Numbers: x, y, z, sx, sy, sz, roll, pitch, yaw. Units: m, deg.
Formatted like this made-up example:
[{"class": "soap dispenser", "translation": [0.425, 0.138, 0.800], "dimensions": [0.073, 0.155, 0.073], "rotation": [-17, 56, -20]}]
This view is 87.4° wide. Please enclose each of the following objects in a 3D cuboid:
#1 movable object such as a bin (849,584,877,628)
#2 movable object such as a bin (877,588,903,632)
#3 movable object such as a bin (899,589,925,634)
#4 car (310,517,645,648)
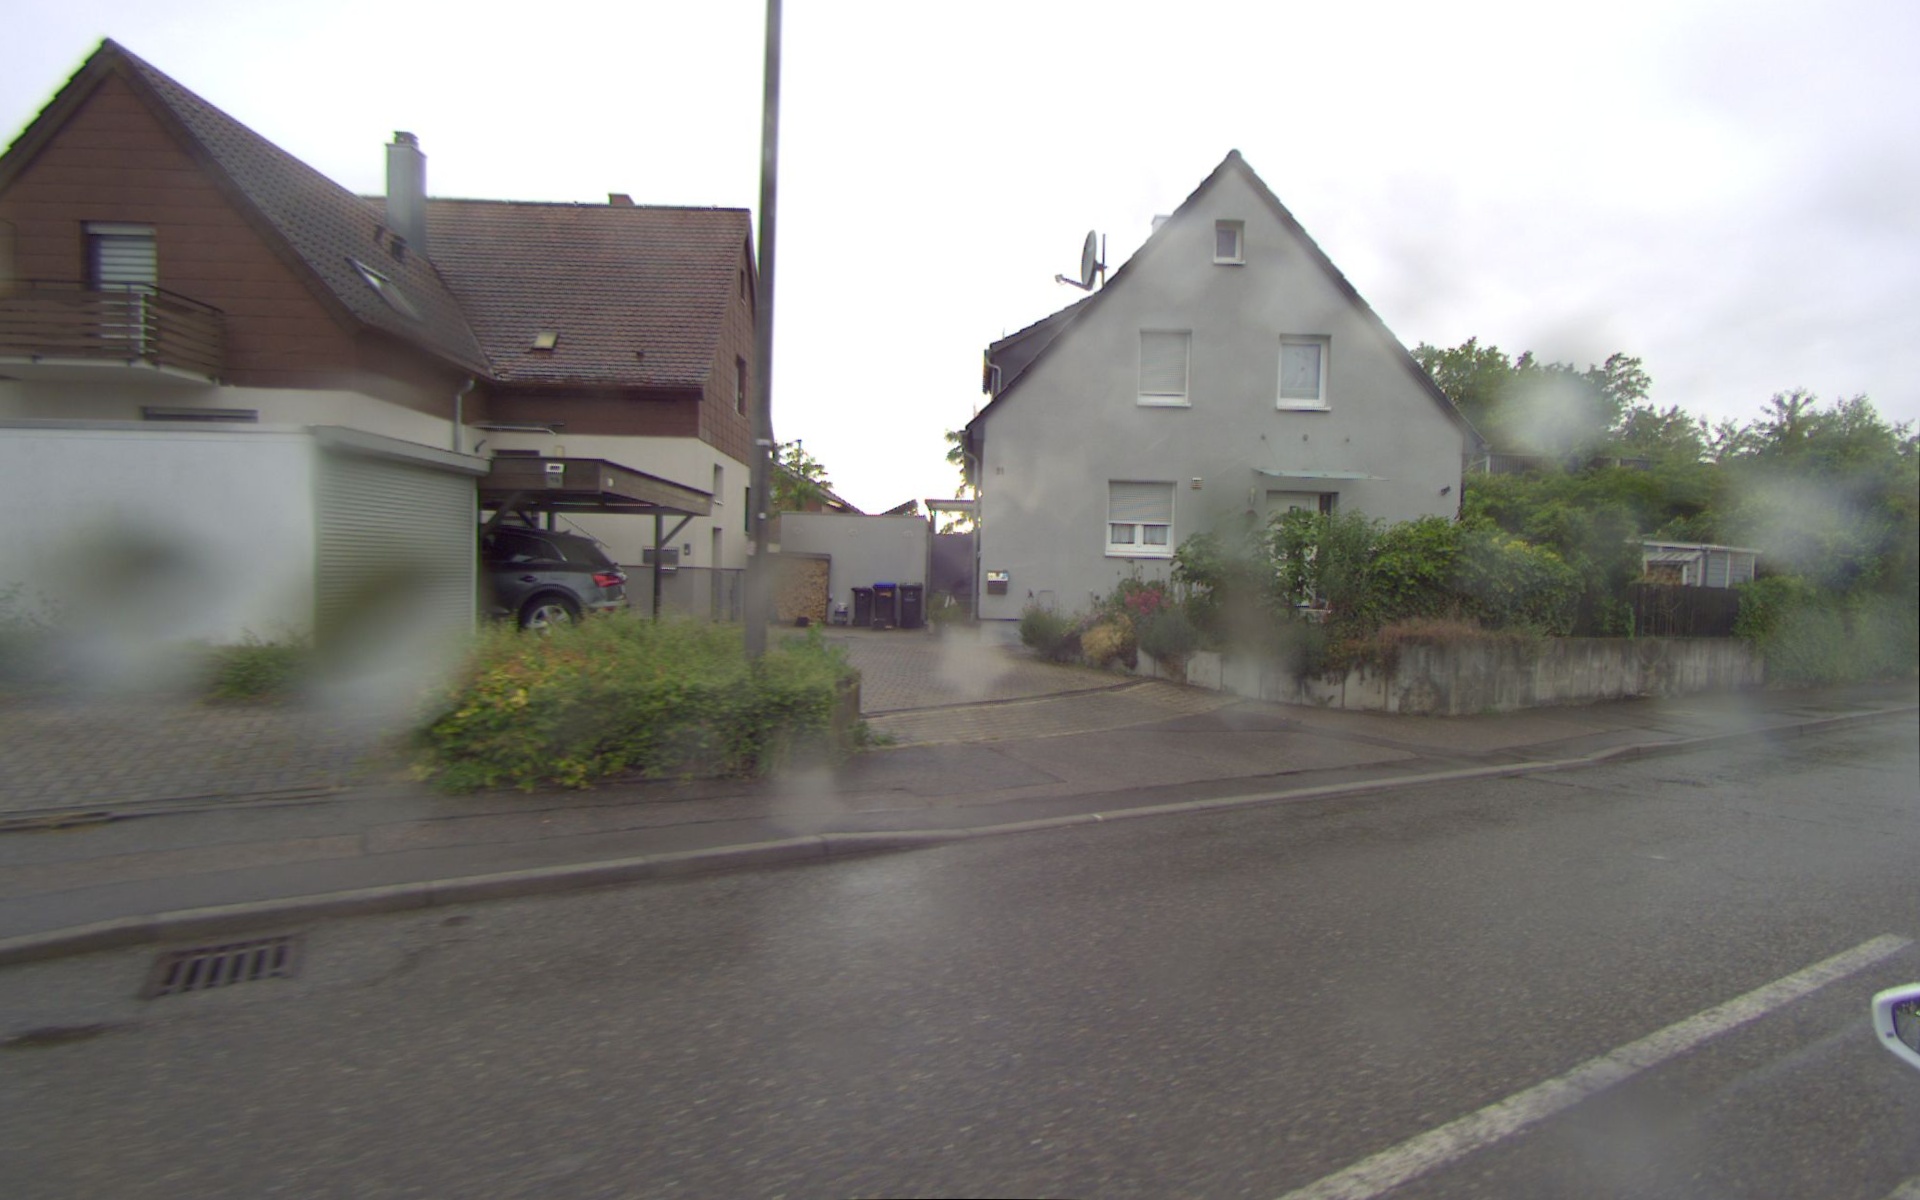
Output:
[{"class": "movable object such as a bin", "translation": [-2.319, 0.147, 24.051], "dimensions": [0.565, 1.028, 0.528], "rotation": [1, 1, 5]}, {"class": "movable object such as a bin", "translation": [-1.668, 0.231, 23.919], "dimensions": [0.535, 1.028, 0.494], "rotation": [1, 1, 6]}, {"class": "movable object such as a bin", "translation": [-1.132, 0.269, 23.814], "dimensions": [0.535, 1.028, 0.494], "rotation": [1, 1, 6]}, {"class": "car", "translation": [-6.682, -0.216, 14.398], "dimensions": [3.930, 1.683, 1.995], "rotation": [1, 1, -12]}]
